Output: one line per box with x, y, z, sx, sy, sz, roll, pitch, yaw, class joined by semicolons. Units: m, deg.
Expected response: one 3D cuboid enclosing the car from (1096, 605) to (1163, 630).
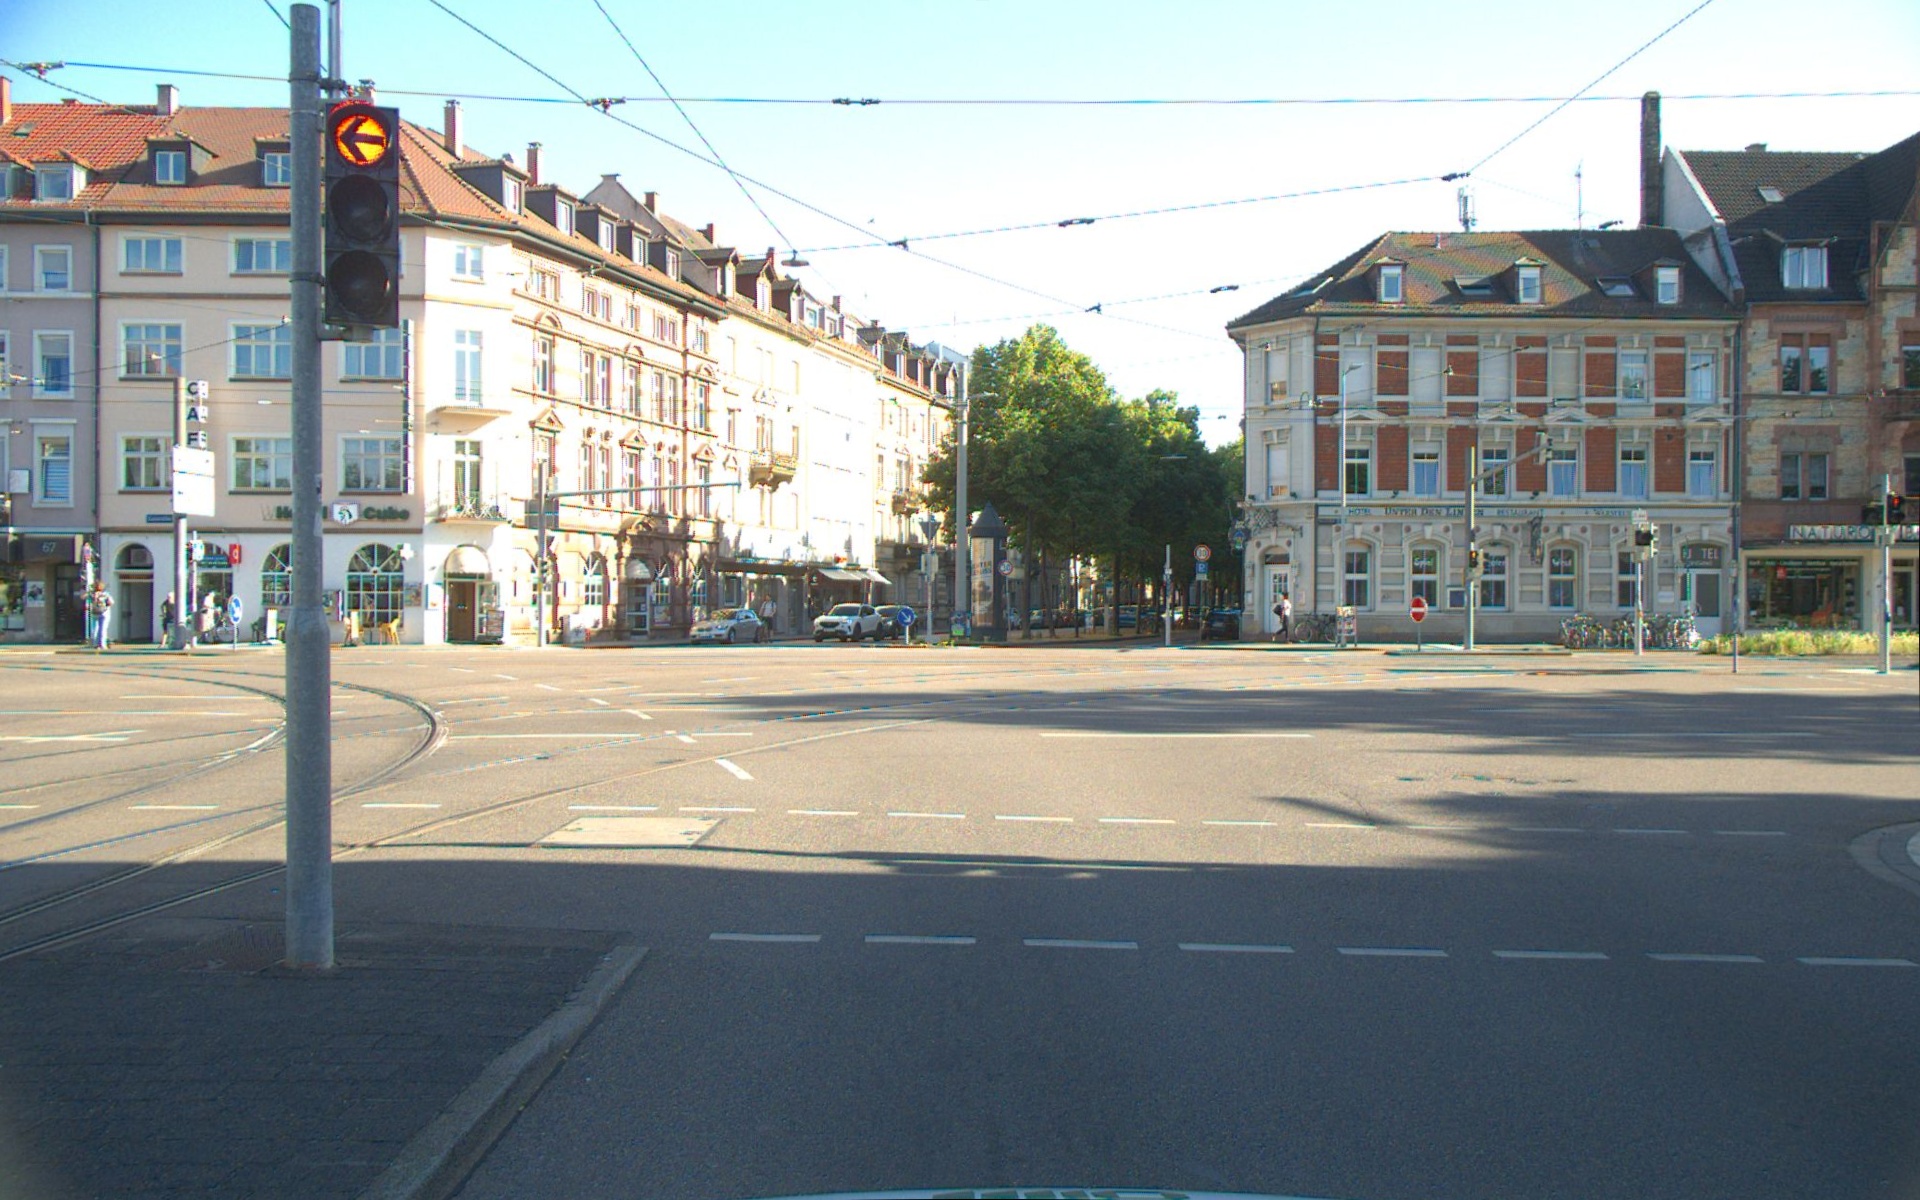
10.253;1.041;99.820;3.902;1.480;1.683;0;0;10;car

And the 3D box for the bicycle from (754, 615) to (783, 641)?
-7.553;1.102;65.163;0.641;1.018;1.666;1;0;11;bicycle

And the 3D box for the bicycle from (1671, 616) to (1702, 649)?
23.593;1.045;53.739;0.476;1.038;1.785;0;0;9;bicycle

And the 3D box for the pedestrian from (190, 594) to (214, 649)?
-23.739;0.653;51.781;0.617;1.711;0.738;0;0;-21;pedestrian

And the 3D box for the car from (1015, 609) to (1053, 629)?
5.478;1.382;122.637;1.951;1.429;4.172;0;0;15;car

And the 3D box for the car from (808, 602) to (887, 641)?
-4.527;0.851;67.384;1.951;1.542;4.172;0;0;15;car

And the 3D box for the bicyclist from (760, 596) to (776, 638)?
-7.544;0.657;65.064;0.479;1.629;0.667;0;0;9;bicyclist

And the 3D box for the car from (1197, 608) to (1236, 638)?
12.857;1.144;82.702;1.717;1.445;4.003;0;0;12;car

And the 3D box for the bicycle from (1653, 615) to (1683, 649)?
22.909;1.032;53.557;0.476;1.038;1.785;0;0;9;bicycle

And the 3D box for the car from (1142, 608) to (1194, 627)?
14.049;1.153;111.658;3.360;1.261;1.578;0;0;10;car

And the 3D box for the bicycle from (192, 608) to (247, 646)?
-25.342;0.919;56.606;1.684;1.299;0.385;0;0;-18;bicycle

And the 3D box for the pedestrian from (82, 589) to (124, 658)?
-21.387;0.576;41.266;0.725;1.711;0.628;0;0;-1;pedestrian

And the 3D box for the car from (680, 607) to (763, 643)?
-9.596;0.989;66.877;1.951;1.385;3.821;0;0;15;car

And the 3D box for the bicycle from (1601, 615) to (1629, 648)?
21.166;1.002;53.481;0.476;1.038;1.785;0;0;9;bicycle

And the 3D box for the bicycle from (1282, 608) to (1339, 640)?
12.180;0.830;57.510;1.911;1.072;0.716;0;0;9;bicycle

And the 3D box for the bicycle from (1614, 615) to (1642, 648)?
21.616;1.010;53.549;0.476;1.038;1.785;0;0;9;bicycle

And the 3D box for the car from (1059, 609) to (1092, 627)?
9.575;1.484;136.722;1.951;1.429;4.172;0;0;15;car

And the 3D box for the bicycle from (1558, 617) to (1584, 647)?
19.808;1.016;53.649;0.476;0.930;1.785;0;0;9;bicycle

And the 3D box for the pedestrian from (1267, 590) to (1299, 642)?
11.072;0.540;56.697;1.013;1.741;0.630;1;-1;9;pedestrian

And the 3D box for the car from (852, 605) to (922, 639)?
-3.223;0.956;73.576;1.951;1.429;4.172;0;0;15;car

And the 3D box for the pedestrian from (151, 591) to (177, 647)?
-24.949;0.589;51.831;0.731;1.711;0.623;0;0;-26;pedestrian

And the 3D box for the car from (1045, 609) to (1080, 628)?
8.145;1.438;131.504;1.951;1.429;4.172;0;0;15;car

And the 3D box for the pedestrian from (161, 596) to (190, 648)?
-25.633;0.711;54.073;0.727;1.711;0.626;0;0;-12;pedestrian

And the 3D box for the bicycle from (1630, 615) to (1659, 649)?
22.114;1.018;53.477;0.476;1.038;1.785;0;0;9;bicycle

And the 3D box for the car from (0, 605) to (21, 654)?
-32.063;0.909;52.315;3.651;1.517;1.818;1;0;2;car

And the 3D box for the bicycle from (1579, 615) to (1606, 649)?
20.477;1.023;53.572;0.476;1.038;1.785;0;0;9;bicycle

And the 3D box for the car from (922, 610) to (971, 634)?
-0.815;1.322;102.053;1.951;1.429;4.172;0;0;15;car

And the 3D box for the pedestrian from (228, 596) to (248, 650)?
-17.222;0.548;39.463;0.358;1.275;0.449;0;0;-12;pedestrian

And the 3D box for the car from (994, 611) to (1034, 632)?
3.820;1.488;116.891;1.951;1.429;4.172;0;0;15;car

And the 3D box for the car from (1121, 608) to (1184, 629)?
12.320;1.144;105.559;3.902;1.311;1.696;0;0;10;car
